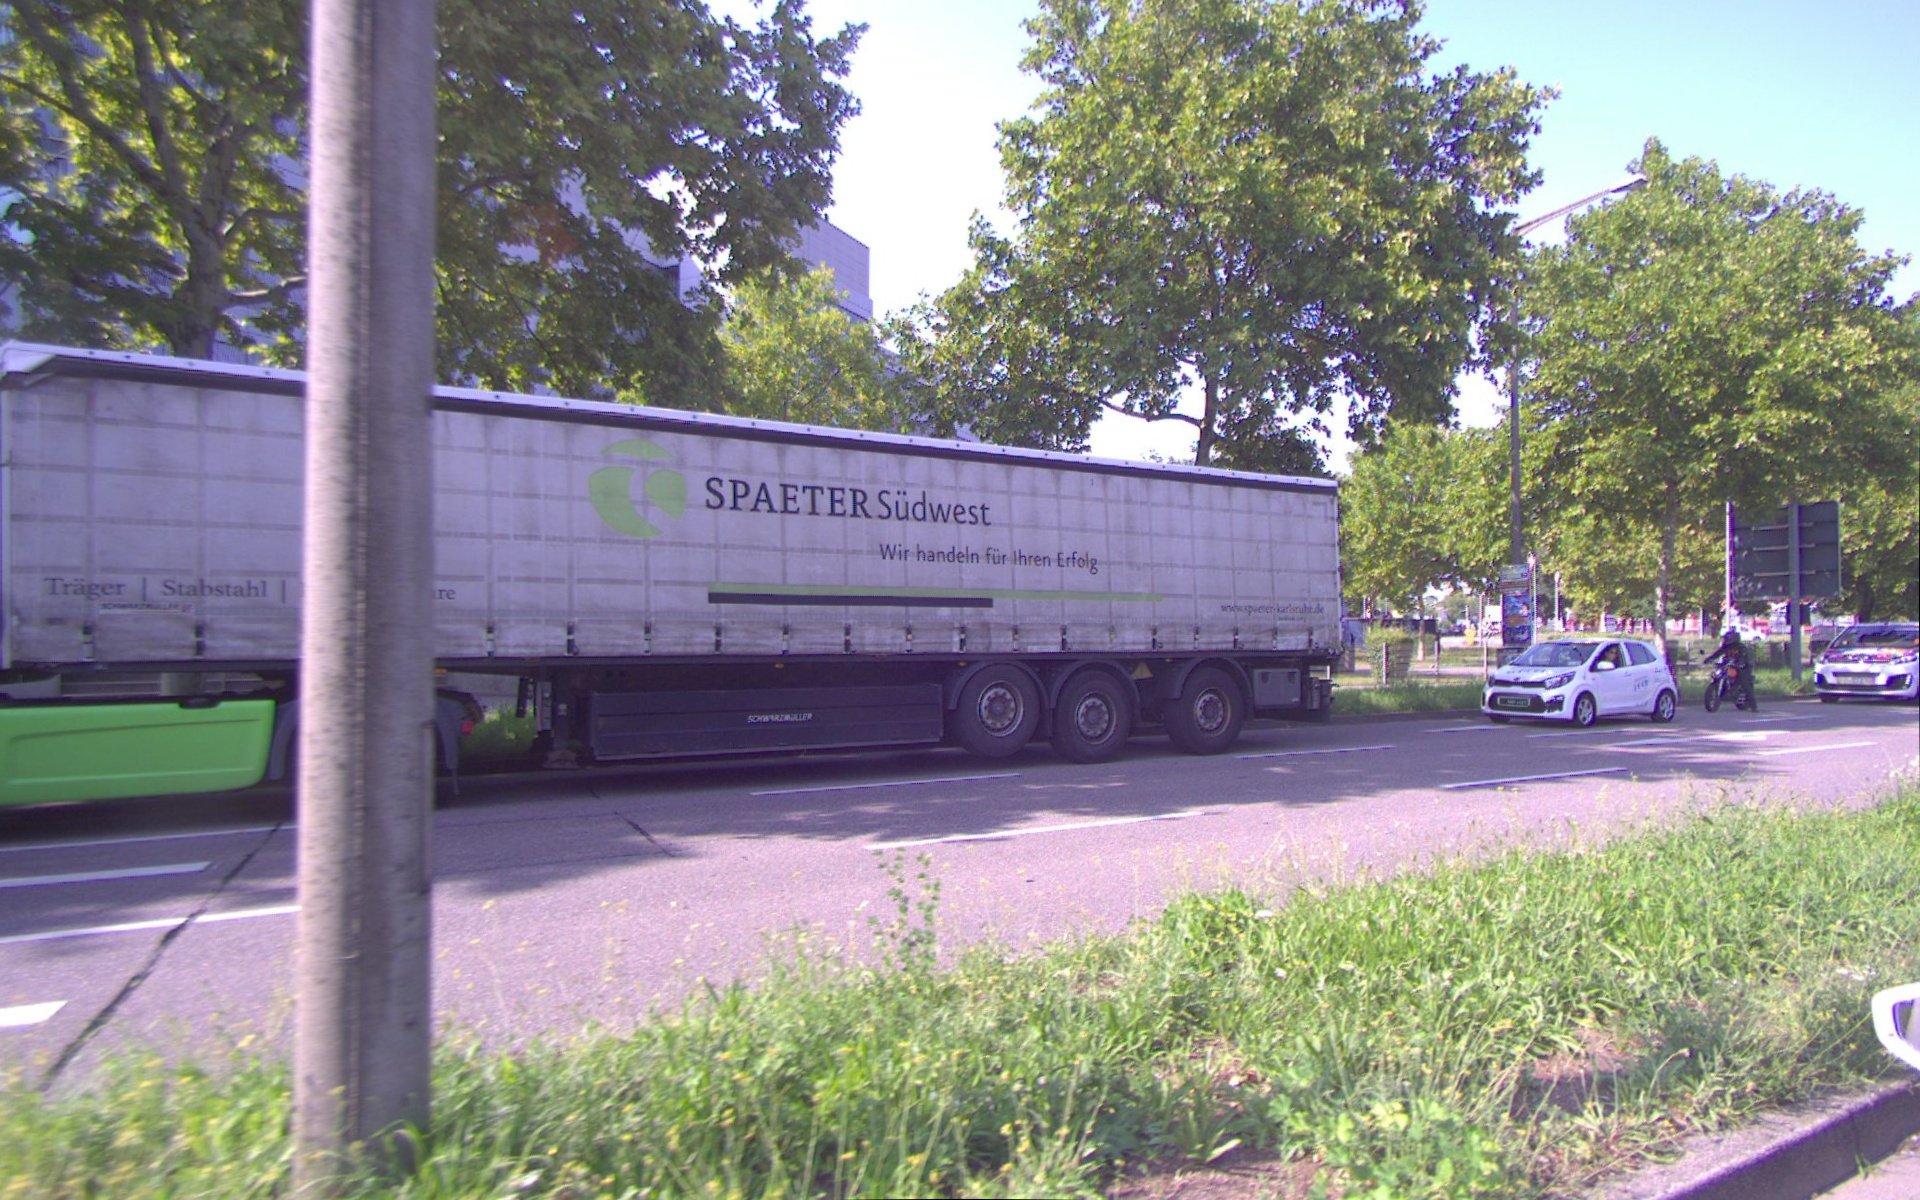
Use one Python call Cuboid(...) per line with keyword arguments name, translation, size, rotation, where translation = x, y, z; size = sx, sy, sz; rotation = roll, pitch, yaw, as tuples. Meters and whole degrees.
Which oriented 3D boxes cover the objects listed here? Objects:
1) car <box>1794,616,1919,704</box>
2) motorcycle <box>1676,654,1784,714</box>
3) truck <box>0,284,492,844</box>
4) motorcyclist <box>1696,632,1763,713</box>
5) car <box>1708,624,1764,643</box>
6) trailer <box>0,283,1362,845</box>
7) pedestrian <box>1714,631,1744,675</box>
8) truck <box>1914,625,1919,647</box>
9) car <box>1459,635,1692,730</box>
Cuboid(name="car", translation=(22.053, 1.397, 23.628), size=(4.907, 1.882, 1.977), rotation=(1, -4, -28))
Cuboid(name="motorcycle", translation=(15.671, 1.684, 20.425), size=(2.435, 1.122, 0.792), rotation=(1, -1, -27))
Cuboid(name="truck", translation=(-7.081, -0.196, 8.140), size=(5.817, 3.869, 2.598), rotation=(1, -3, -28))
Cuboid(name="motorcyclist", translation=(15.619, 1.453, 20.399), size=(0.910, 1.574, 0.775), rotation=(1, -1, -27))
Cuboid(name="car", translation=(75.079, 3.246, 97.185), size=(3.923, 1.701, 1.869), rotation=(0, -1, 24))
Cuboid(name="trailer", translation=(-1.323, -0.063, 11.239), size=(13.639, 3.871, 2.623), rotation=(1, -3, -28))
Cuboid(name="pedestrian", translation=(30.178, 2.075, 39.415), size=(0.922, 1.674, 0.614), rotation=(1, -1, -28))
Cuboid(name="truck", translation=(133.324, 4.758, 133.480), size=(8.847, 2.996, 3.511), rotation=(-1, -2, 27))
Cuboid(name="car", translation=(10.736, 1.382, 17.512), size=(3.781, 1.498, 1.740), rotation=(1, -3, -27))
